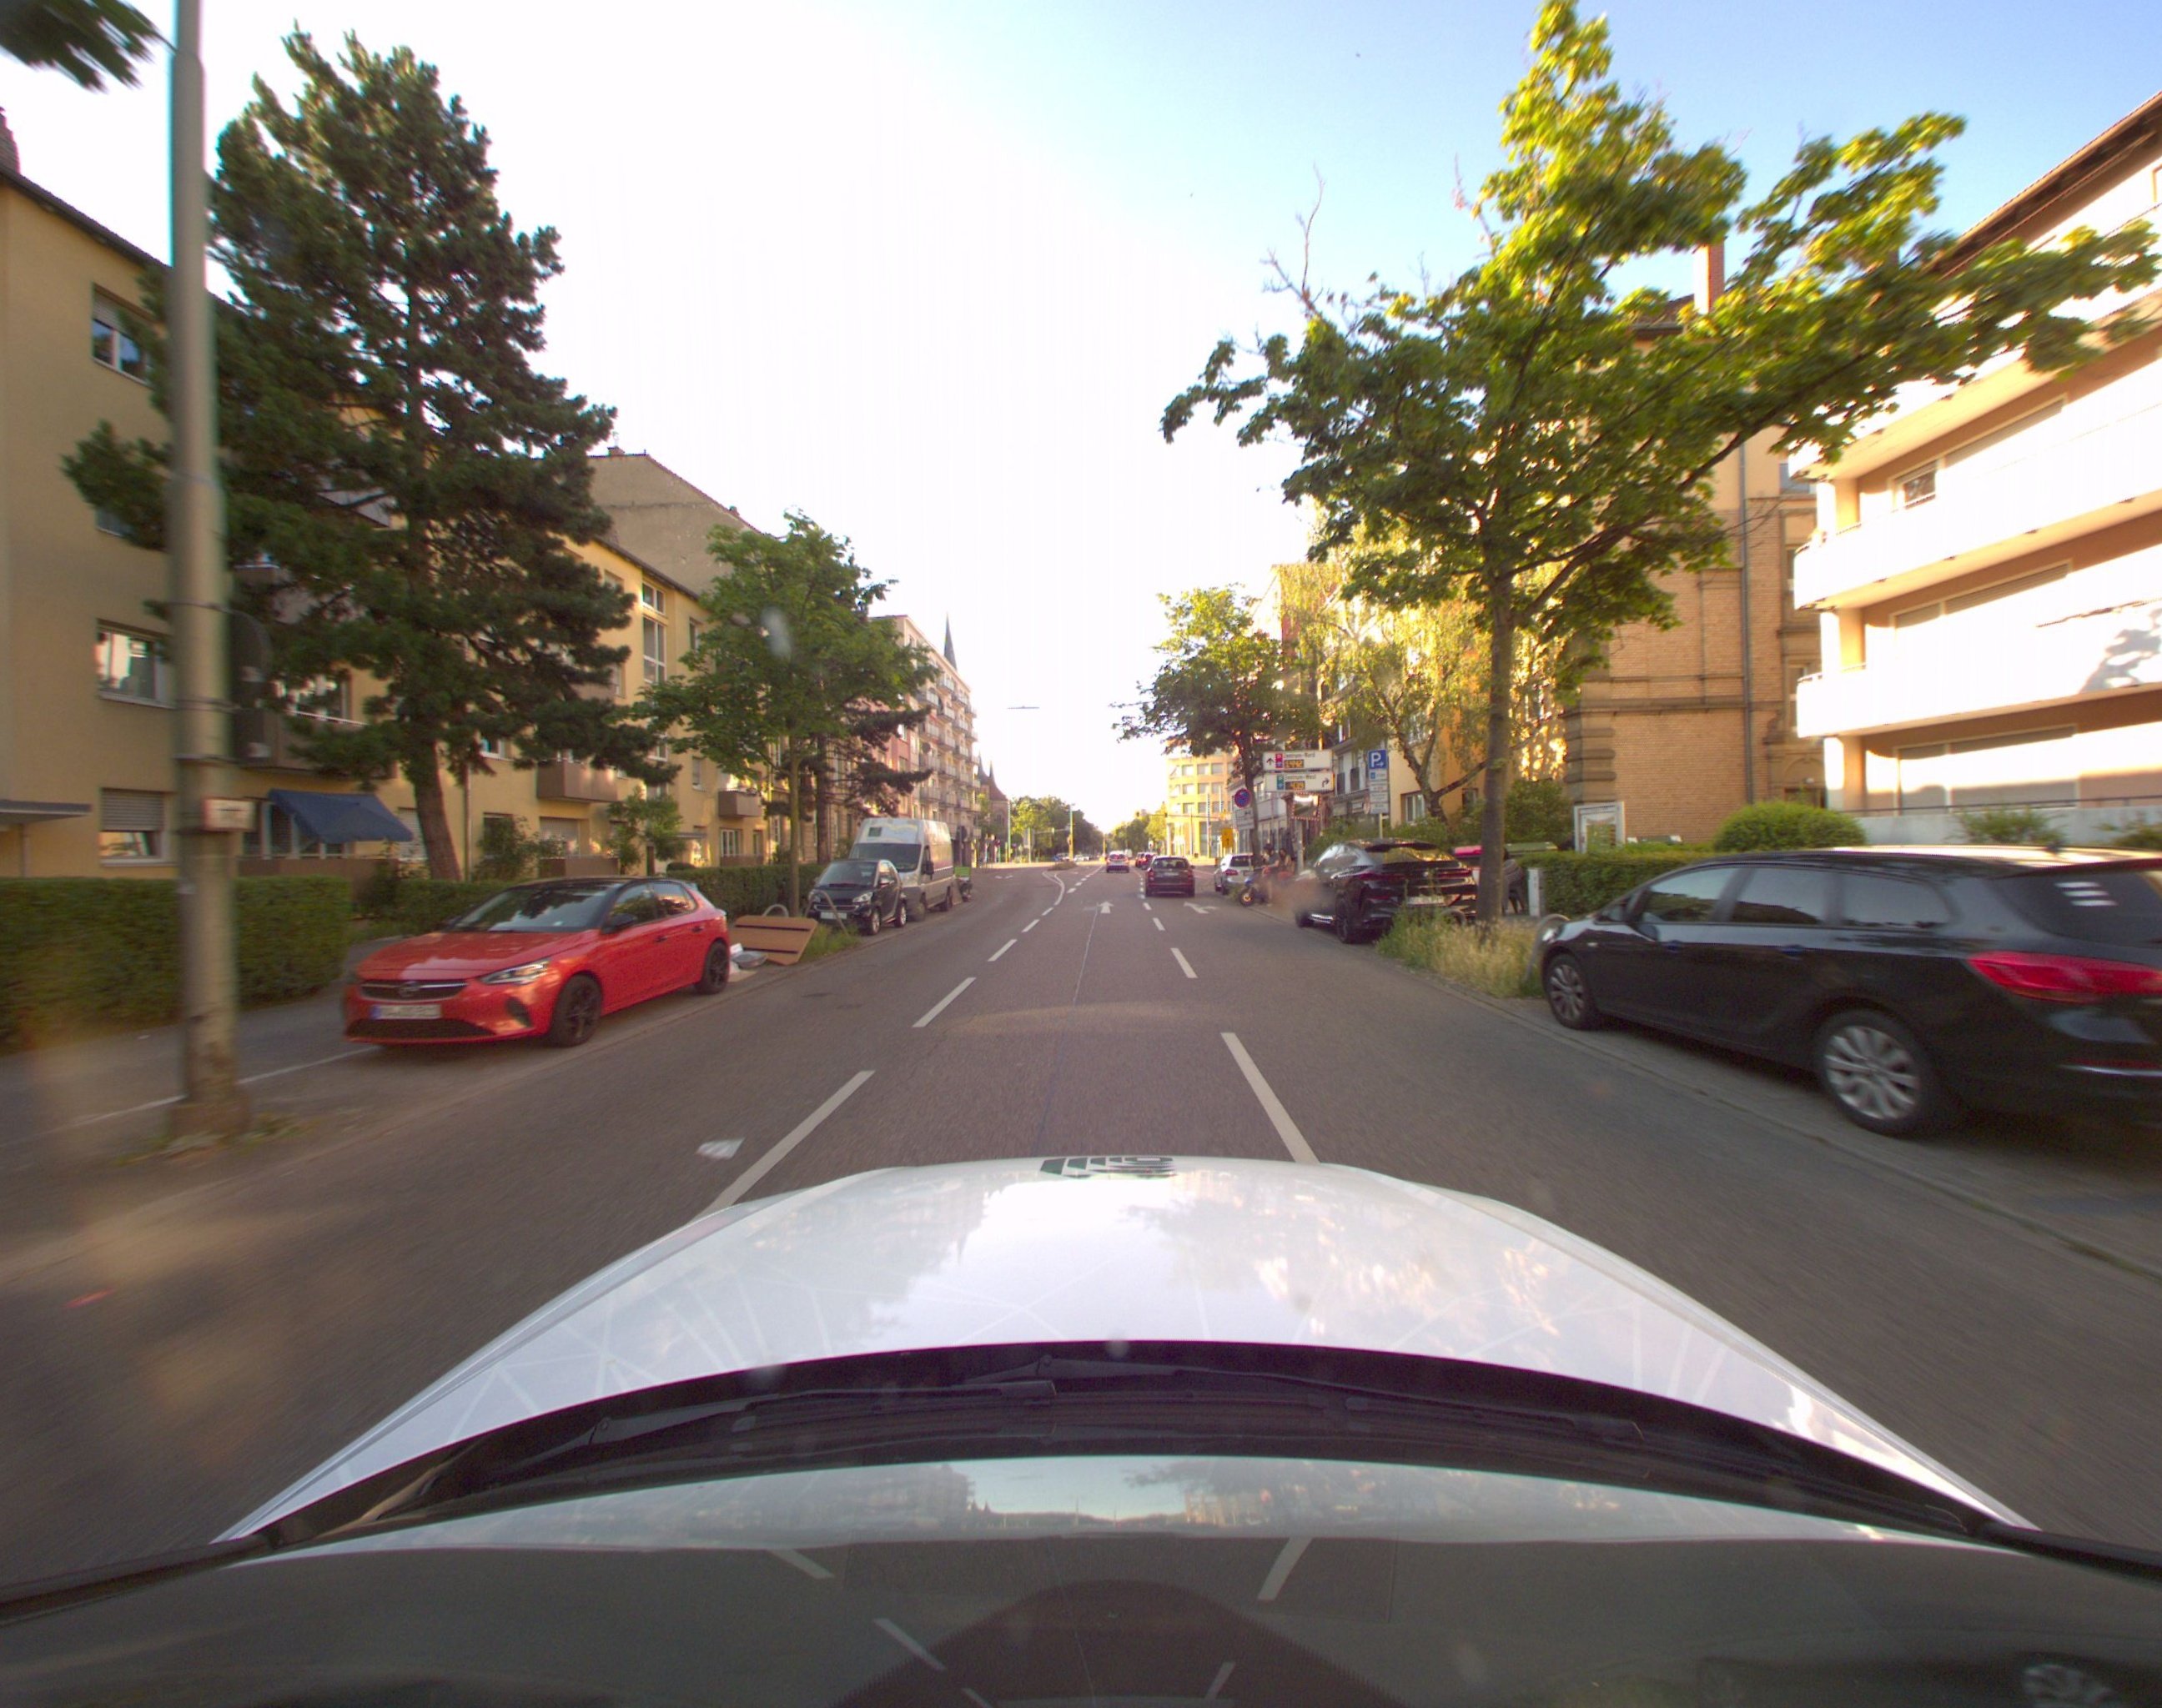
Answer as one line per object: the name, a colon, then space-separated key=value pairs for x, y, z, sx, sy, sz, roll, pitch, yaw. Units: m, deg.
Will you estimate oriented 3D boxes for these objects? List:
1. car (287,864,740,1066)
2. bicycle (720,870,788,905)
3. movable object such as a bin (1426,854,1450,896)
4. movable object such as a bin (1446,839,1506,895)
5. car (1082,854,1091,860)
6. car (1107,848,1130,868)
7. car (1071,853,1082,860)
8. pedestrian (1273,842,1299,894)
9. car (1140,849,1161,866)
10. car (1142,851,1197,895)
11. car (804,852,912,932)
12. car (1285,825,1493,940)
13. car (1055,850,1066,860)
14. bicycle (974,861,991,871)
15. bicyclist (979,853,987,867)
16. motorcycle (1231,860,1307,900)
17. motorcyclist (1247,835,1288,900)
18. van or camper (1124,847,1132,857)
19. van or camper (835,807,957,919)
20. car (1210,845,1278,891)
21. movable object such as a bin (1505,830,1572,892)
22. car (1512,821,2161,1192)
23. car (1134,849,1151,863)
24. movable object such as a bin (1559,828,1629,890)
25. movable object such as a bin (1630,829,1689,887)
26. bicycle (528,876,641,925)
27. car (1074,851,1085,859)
car: x=-5.186 y=0.877 z=8.220 sx=1.710 sy=1.451 sz=3.925 roll=0 pitch=1 yaw=2
bicycle: x=-9.669 y=0.987 z=24.105 sx=1.751 sy=0.981 sz=0.590 roll=0 pitch=0 yaw=2
movable object such as a bin: x=9.418 y=0.552 z=21.490 sx=0.490 sy=1.059 sz=0.550 roll=-2 pitch=0 yaw=14
movable object such as a bin: x=10.442 y=0.338 z=21.559 sx=1.243 sy=1.441 sz=0.999 roll=-2 pitch=0 yaw=16
car: x=1.135 y=0.680 z=176.219 sx=1.773 sy=1.236 sz=4.003 roll=-1 pitch=0 yaw=3
car: x=2.883 y=0.279 z=63.015 sx=1.701 sy=1.510 sz=4.311 roll=0 pitch=0 yaw=2
car: x=-0.877 y=0.372 z=152.000 sx=1.773 sy=1.236 sz=4.003 roll=-1 pitch=0 yaw=3
pedestrian: x=5.772 y=0.380 z=22.976 sx=0.438 sy=1.430 sz=0.702 roll=-1 pitch=0 yaw=-10
car: x=6.146 y=0.292 z=72.401 sx=1.644 sy=1.484 sz=4.242 roll=0 pitch=0 yaw=2
car: x=3.129 y=0.620 z=29.365 sx=1.701 sy=1.457 sz=4.161 roll=0 pitch=0 yaw=2
car: x=-4.705 y=0.745 z=17.490 sx=1.397 sy=1.548 sz=2.764 roll=0 pitch=0 yaw=3
car: x=5.171 y=0.410 z=14.477 sx=1.941 sy=1.655 sz=4.797 roll=-1 pitch=0 yaw=1
car: x=-3.876 y=0.191 z=152.645 sx=1.773 sy=1.647 sz=4.003 roll=-1 pitch=0 yaw=3
bicycle: x=-11.280 y=1.360 z=93.581 sx=1.821 sy=1.188 sz=0.734 roll=0 pitch=0 yaw=1
bicyclist: x=-11.400 y=0.664 z=94.343 sx=0.779 sy=1.660 sz=0.901 roll=0 pitch=0 yaw=2
motorcycle: x=5.321 y=0.725 z=23.127 sx=1.925 sy=1.071 sz=0.817 roll=-1 pitch=0 yaw=-10
motorcyclist: x=5.236 y=0.364 z=22.883 sx=0.736 sy=1.778 sz=1.085 roll=-1 pitch=0 yaw=-10
van or camper: x=13.385 y=-0.593 z=231.091 sx=1.985 sy=2.640 sz=5.356 roll=-1 pitch=0 yaw=4
van or camper: x=-4.890 y=0.204 z=22.554 sx=2.029 sy=2.663 sz=6.014 roll=1 pitch=0 yaw=0
car: x=6.043 y=0.478 z=30.765 sx=1.848 sy=1.512 sz=4.839 roll=-3 pitch=0 yaw=4
movable object such as a bin: x=12.071 y=0.179 z=21.501 sx=1.154 sy=1.555 sz=0.992 roll=-2 pitch=0 yaw=-8
car: x=4.967 y=0.585 z=5.527 sx=1.711 sy=1.472 sz=4.431 roll=-2 pitch=0 yaw=0
car: x=6.426 y=0.194 z=85.262 sx=1.578 sy=1.446 sz=3.650 roll=0 pitch=0 yaw=2
movable object such as a bin: x=13.401 y=0.126 z=21.292 sx=1.154 sy=1.555 sz=0.992 roll=-2 pitch=0 yaw=-8
movable object such as a bin: x=14.961 y=0.098 z=21.114 sx=1.128 sy=1.441 sz=1.001 roll=-2 pitch=0 yaw=30
bicycle: x=-10.014 y=0.927 z=16.445 sx=1.928 sy=0.925 sz=0.583 roll=1 pitch=0 yaw=3
car: x=-0.314 y=0.207 z=158.563 sx=1.773 sy=1.464 sz=4.003 roll=-1 pitch=0 yaw=3
